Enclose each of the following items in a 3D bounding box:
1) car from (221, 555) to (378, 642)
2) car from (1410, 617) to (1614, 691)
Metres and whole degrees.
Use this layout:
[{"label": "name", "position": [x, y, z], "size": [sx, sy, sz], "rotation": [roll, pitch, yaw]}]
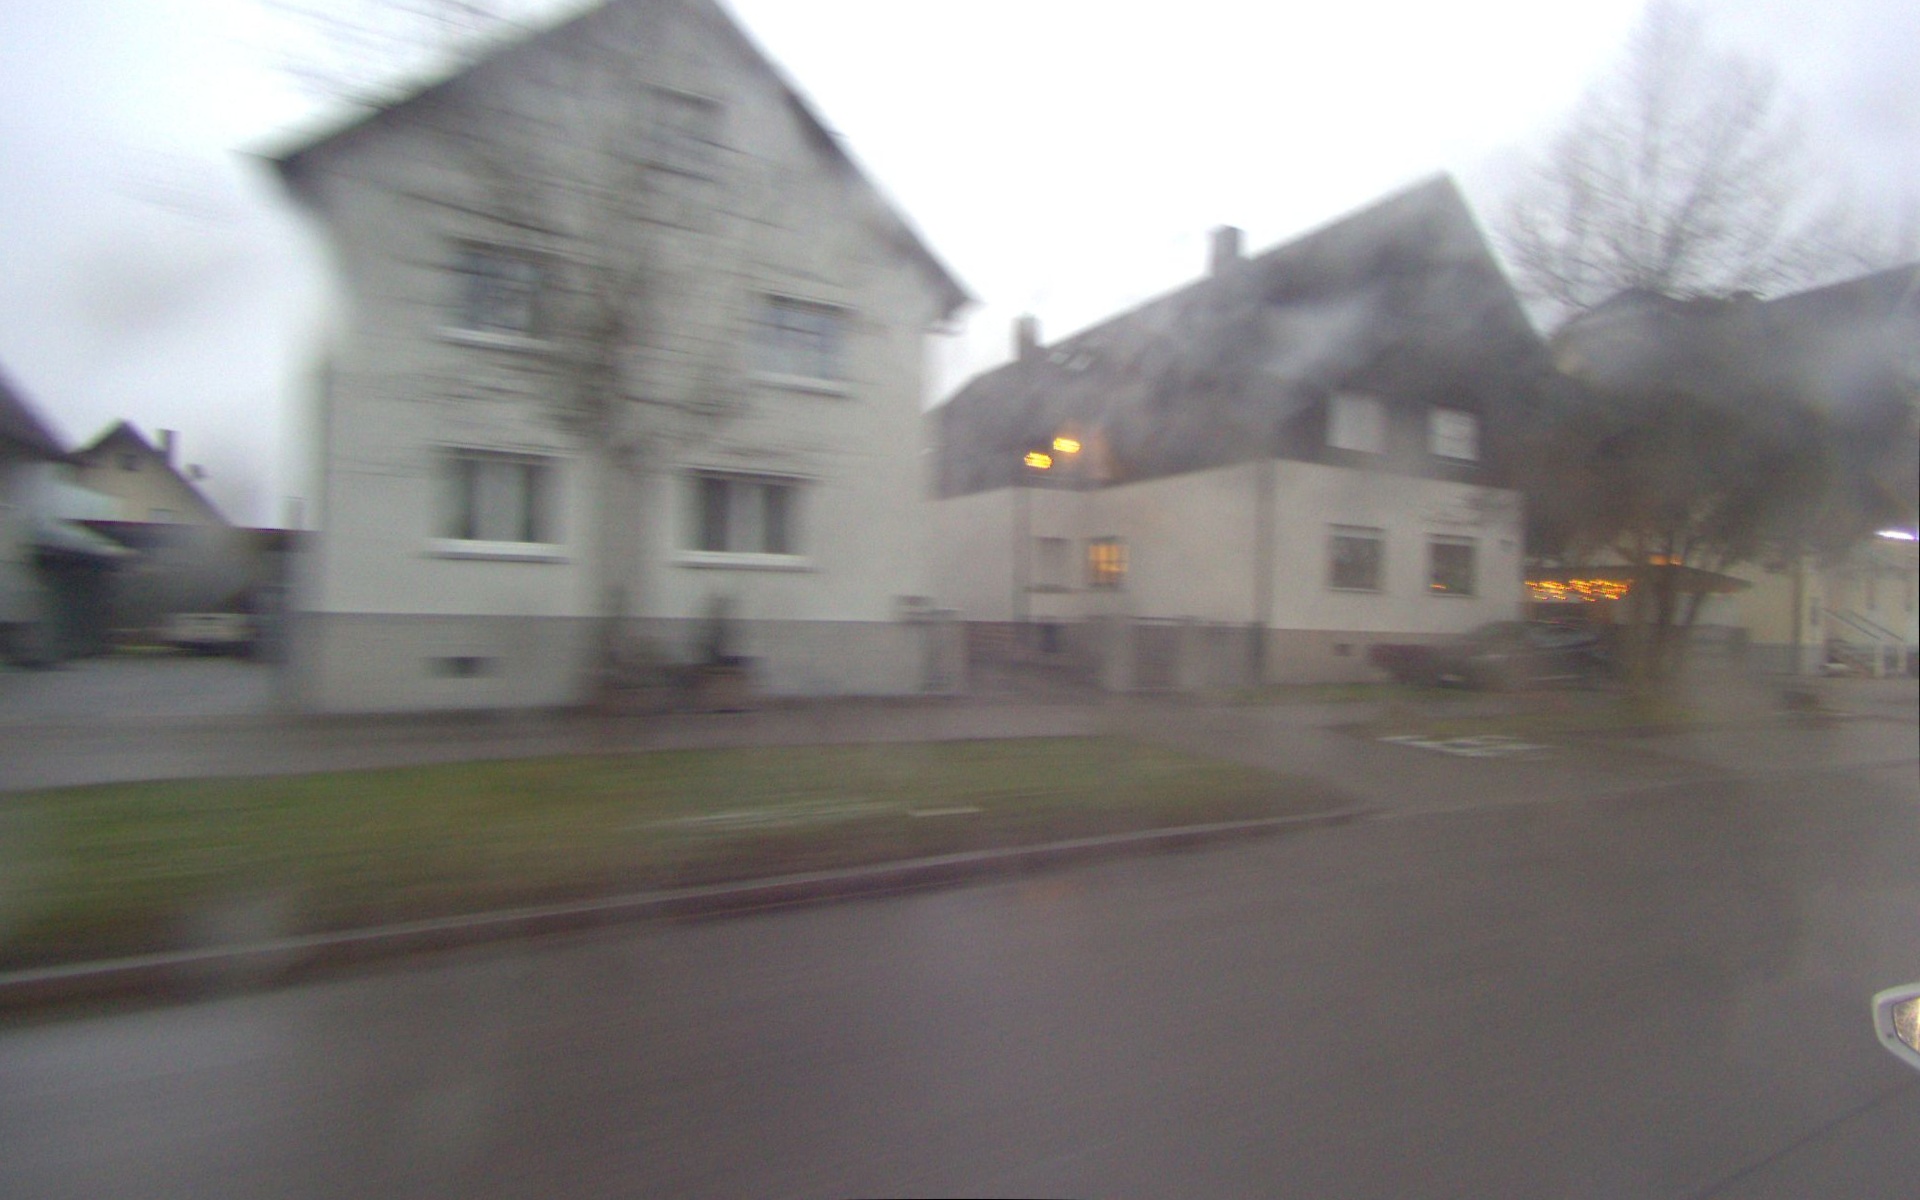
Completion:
[{"label": "car", "position": [-13.490, -0.023, 20.794], "size": [2.099, 1.572, 3.975], "rotation": [2, 0, -25]}, {"label": "car", "position": [11.699, 1.148, 21.291], "size": [3.946, 1.384, 1.776], "rotation": [3, 0, -25]}]
